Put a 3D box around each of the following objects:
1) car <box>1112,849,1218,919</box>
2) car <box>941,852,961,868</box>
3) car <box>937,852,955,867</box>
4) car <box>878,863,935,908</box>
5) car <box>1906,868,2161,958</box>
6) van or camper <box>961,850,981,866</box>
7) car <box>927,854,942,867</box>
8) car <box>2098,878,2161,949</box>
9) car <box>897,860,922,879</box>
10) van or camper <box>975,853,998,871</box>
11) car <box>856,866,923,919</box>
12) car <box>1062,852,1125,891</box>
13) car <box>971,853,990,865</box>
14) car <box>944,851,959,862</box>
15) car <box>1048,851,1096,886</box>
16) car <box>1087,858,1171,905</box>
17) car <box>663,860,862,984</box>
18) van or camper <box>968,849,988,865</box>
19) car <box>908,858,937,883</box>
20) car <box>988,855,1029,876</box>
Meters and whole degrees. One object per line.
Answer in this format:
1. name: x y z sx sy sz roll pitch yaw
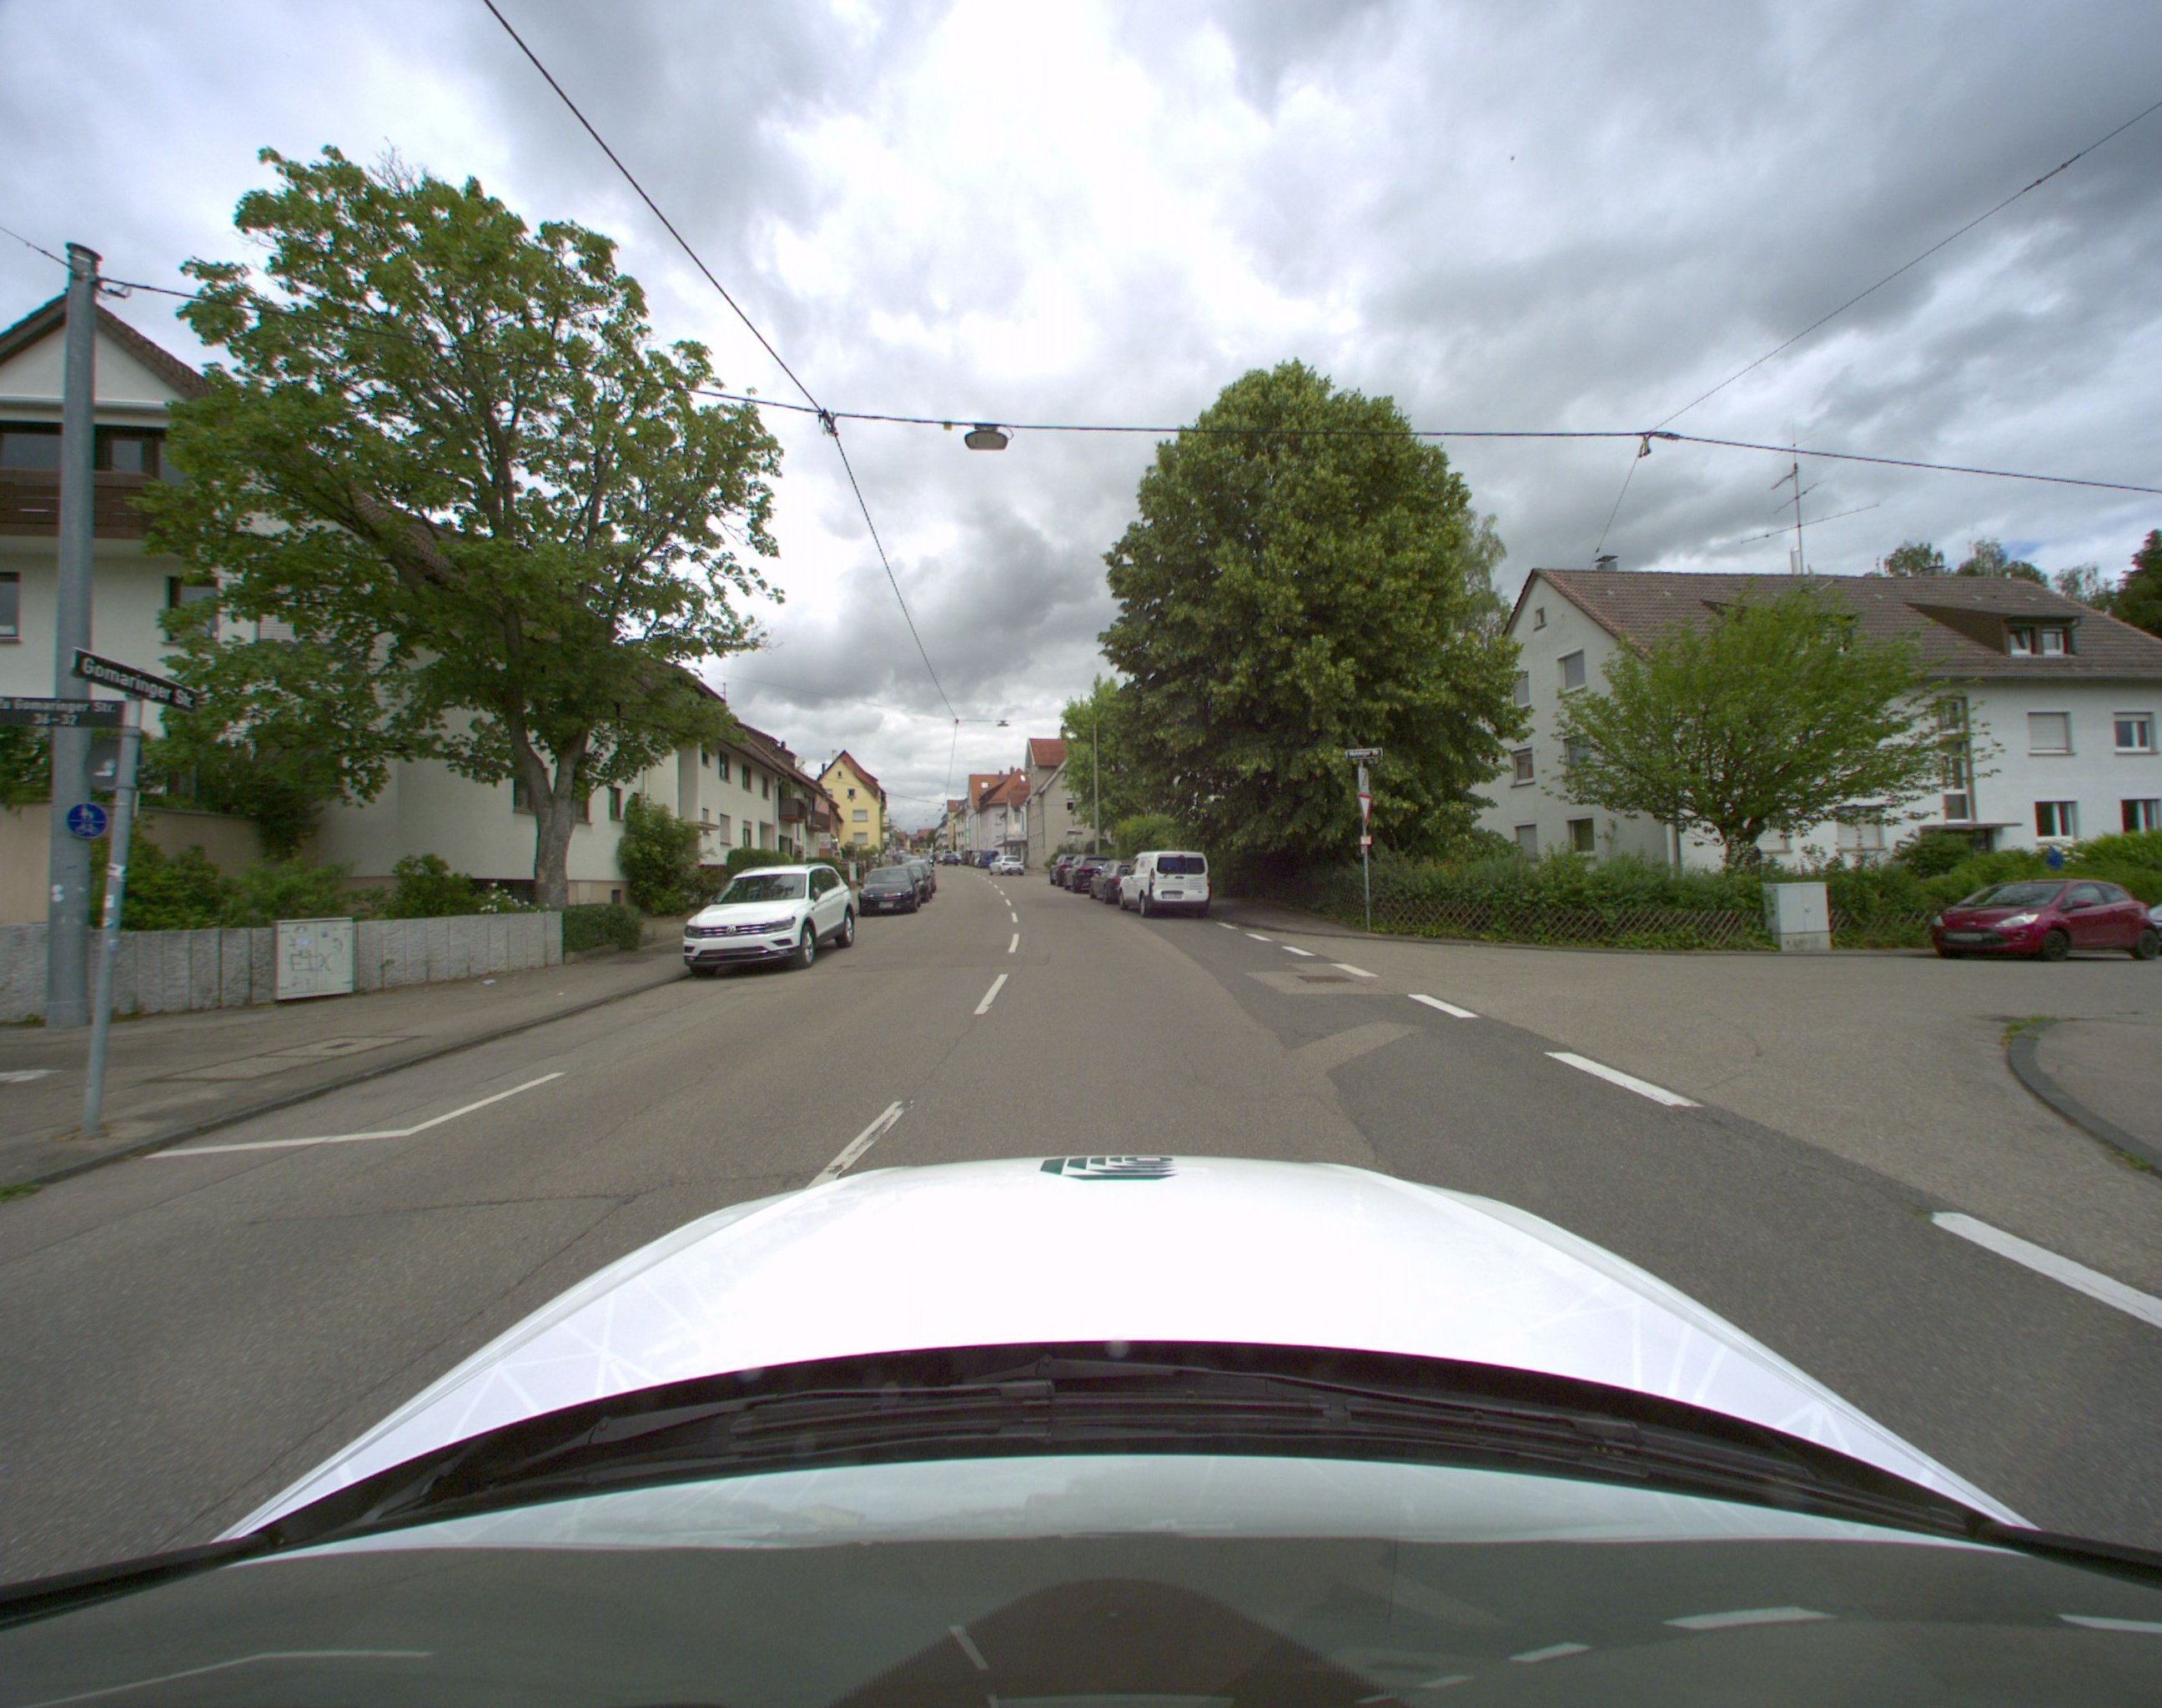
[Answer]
1. car: 2.275 0.775 23.238 1.838 1.774 4.302 1 0 -11
2. car: -16.546 0.744 103.452 2.156 2.014 3.980 0 0 -15
3. car: -19.455 0.801 117.266 2.156 2.014 3.980 0 0 -15
4. car: -6.622 1.147 31.257 1.762 1.438 4.066 -5 1 -9
5. car: 17.955 1.090 15.305 3.700 1.564 1.680 0 -4 -13
6. van or camper: -14.531 0.527 107.457 1.996 2.066 5.917 1 0 -13
7. car: -23.892 1.064 133.091 2.156 2.014 3.980 0 0 -15
8. car: 22.710 1.145 15.903 3.723 1.370 1.839 0 -3 -7
9. car: -16.327 1.427 77.487 1.832 1.578 4.022 -4 1 -7
10. van or camper: -10.283 0.842 88.300 1.929 1.925 4.807 0 0 -14
11. car: -6.129 1.167 26.403 1.762 1.438 4.065 -3 0 -9
12. car: 0.479 0.738 35.447 1.993 1.615 4.525 0 -1 -9
13. car: -11.715 0.560 94.780 1.716 1.436 4.617 1 0 -14
14. car: -20.453 0.436 128.545 1.944 1.693 3.980 2 0 -15
15. car: -0.508 0.712 40.984 1.810 1.615 4.525 0 -1 -9
16. car: 1.589 0.900 28.781 1.993 1.478 4.605 -1 0 -9
17. car: -5.318 1.014 14.329 1.846 1.714 4.569 -3 0 -3
18. van or camper: -12.689 0.343 99.725 1.874 1.829 4.658 1 0 -14
19. car: -10.670 1.088 54.824 1.727 1.458 3.883 -5 0 -11
20. car: -5.339 0.813 59.786 1.948 1.439 3.971 0 0 -22
